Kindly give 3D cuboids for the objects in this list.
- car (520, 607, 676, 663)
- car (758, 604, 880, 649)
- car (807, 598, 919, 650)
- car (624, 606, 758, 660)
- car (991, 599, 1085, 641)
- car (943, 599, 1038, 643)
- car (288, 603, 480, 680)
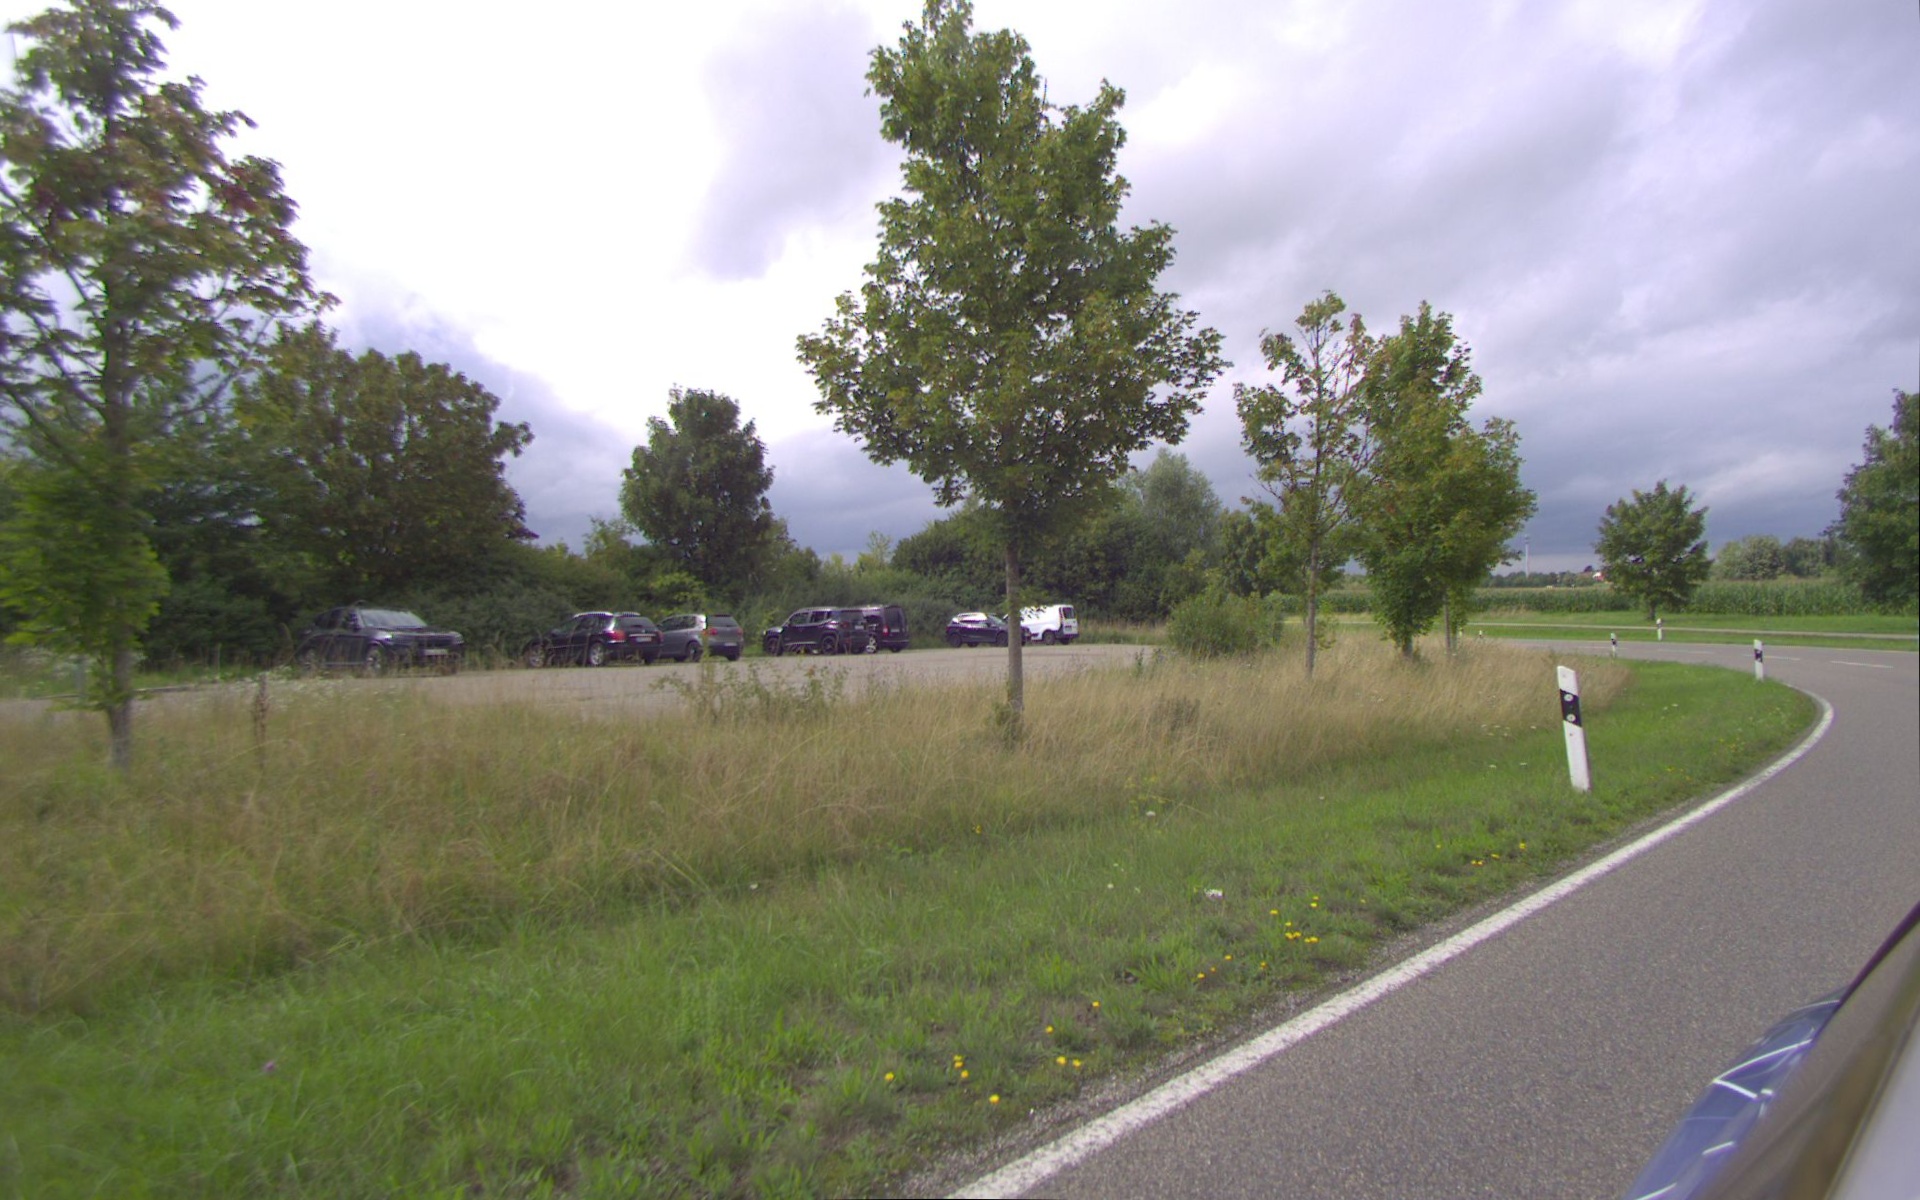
[{"bbox_3d":[-10.181,0.942,28.416,4.131,1.432,1.978,-1,0,31],"label":"car"},{"bbox_3d":[-5.055,0.919,36.139,3.967,1.516,1.978,-1,0,31],"label":"car"},{"bbox_3d":[-3.722,0.885,38.717,3.973,1.883,1.975,-1,0,35],"label":"car"},{"bbox_3d":[-8.366,0.981,31.388,3.987,1.524,2.024,-1,0,38],"label":"car"},{"bbox_3d":[3.644,0.920,47.659,3.973,1.883,1.975,-1,0,35],"label":"car"},{"bbox_3d":[1.354,0.939,45.510,3.973,1.883,1.723,-1,0,35],"label":"car"},{"bbox_3d":[-13.394,0.906,23.472,4.455,1.601,1.978,-1,0,31],"label":"car"}]
